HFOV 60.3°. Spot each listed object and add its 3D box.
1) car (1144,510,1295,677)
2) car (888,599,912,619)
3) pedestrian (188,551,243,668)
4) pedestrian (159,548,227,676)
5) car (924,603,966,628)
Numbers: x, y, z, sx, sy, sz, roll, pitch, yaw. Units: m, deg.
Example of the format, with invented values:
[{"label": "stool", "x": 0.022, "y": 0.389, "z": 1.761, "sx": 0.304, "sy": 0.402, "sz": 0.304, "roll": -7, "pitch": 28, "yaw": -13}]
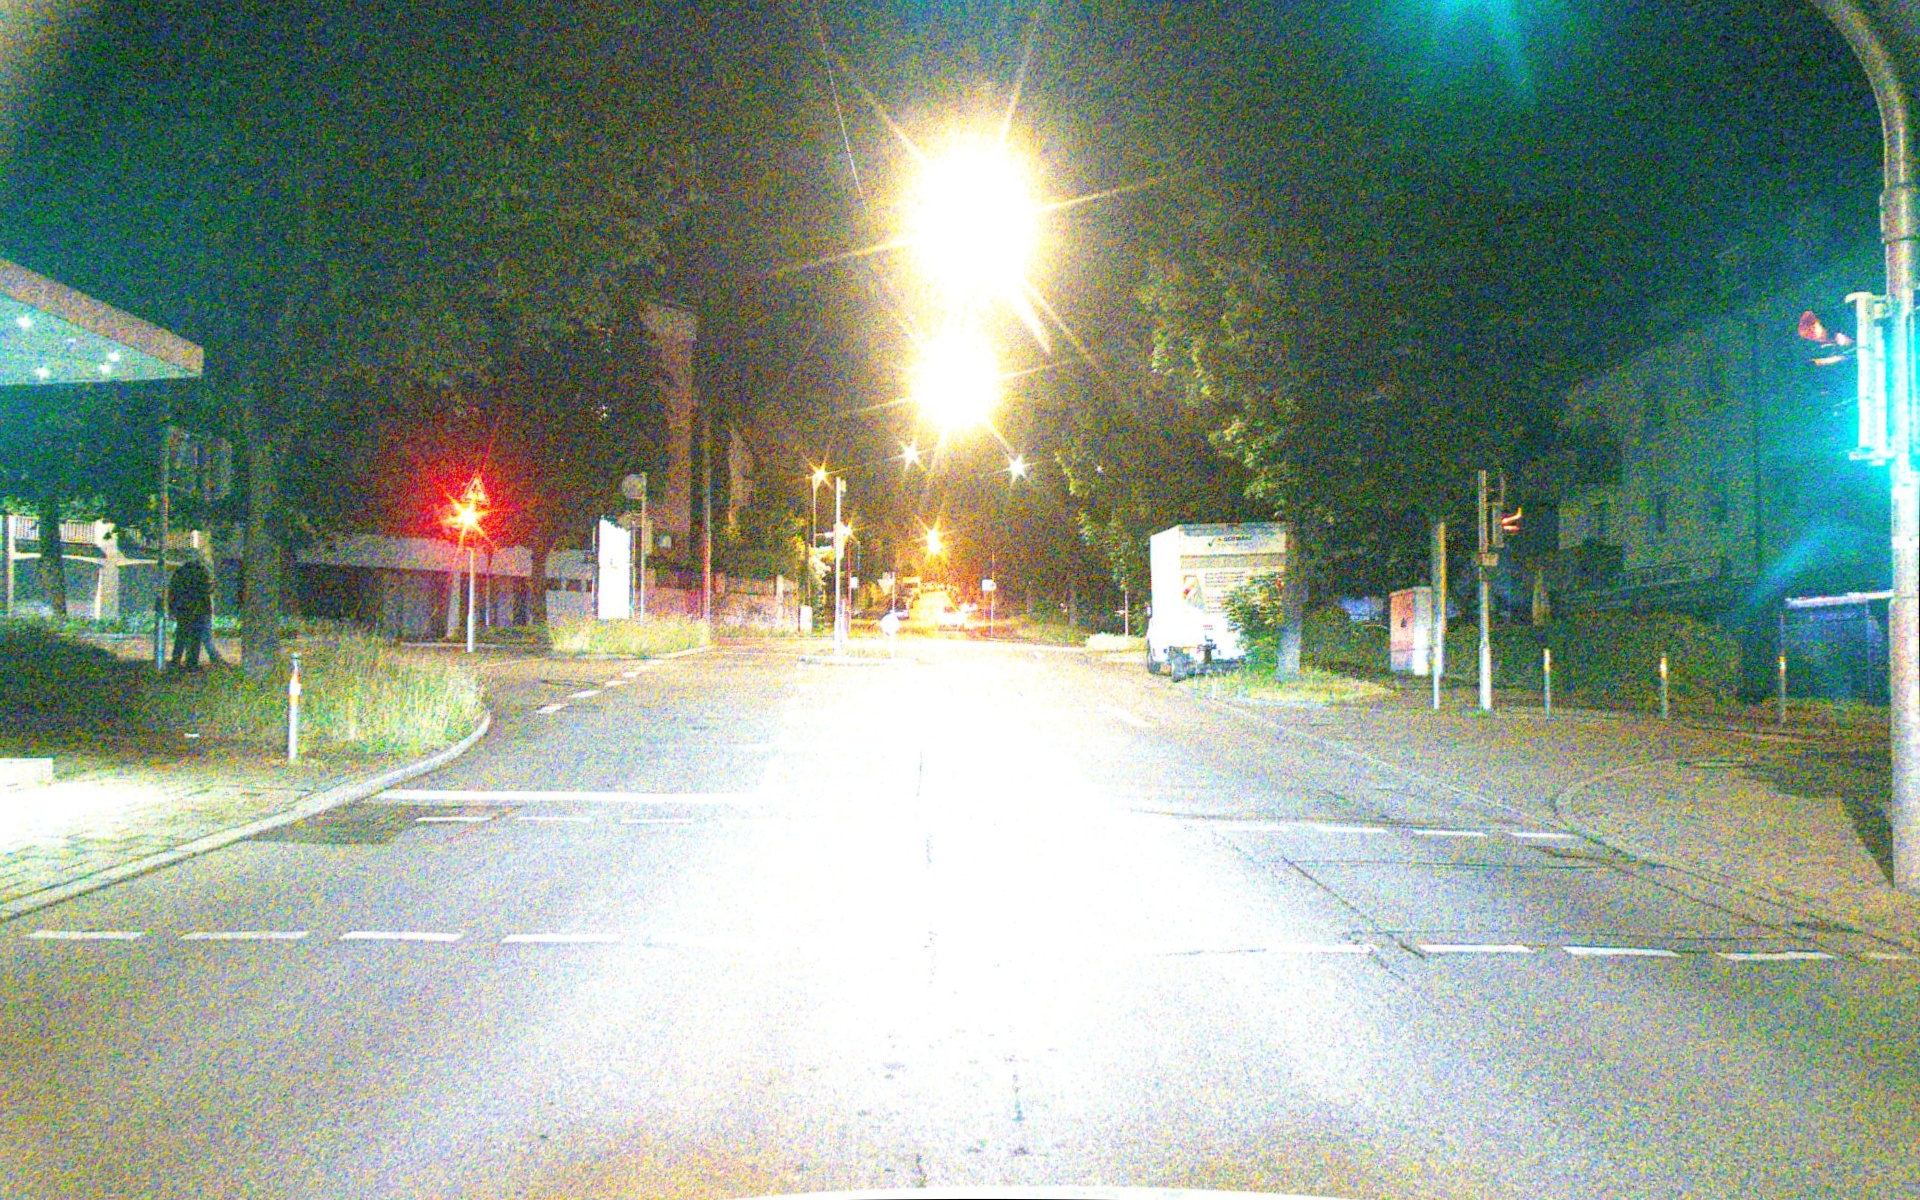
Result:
[{"label": "car", "x": 5.256, "y": -0.113, "z": 34.343, "sx": 2.249, "sy": 3.147, "sz": 5.840, "roll": -1, "pitch": 0, "yaw": 1}, {"label": "car", "x": -4.843, "y": 0.739, "z": 134.234, "sx": 1.869, "sy": 1.585, "sz": 3.903, "roll": 1, "pitch": 0, "yaw": -1}, {"label": "pedestrian", "x": -11.419, "y": 0.142, "z": 25.387, "sx": 0.558, "sy": 1.761, "sz": 0.543, "roll": 1, "pitch": -1, "yaw": -1}, {"label": "pedestrian", "x": -11.133, "y": 0.176, "z": 24.024, "sx": 0.558, "sy": 1.808, "sz": 0.737, "roll": 3, "pitch": -1, "yaw": -1}, {"label": "car", "x": -0.950, "y": 0.951, "z": 102.310, "sx": 1.746, "sy": 1.512, "sz": 3.985, "roll": 1, "pitch": 0, "yaw": -14}]
